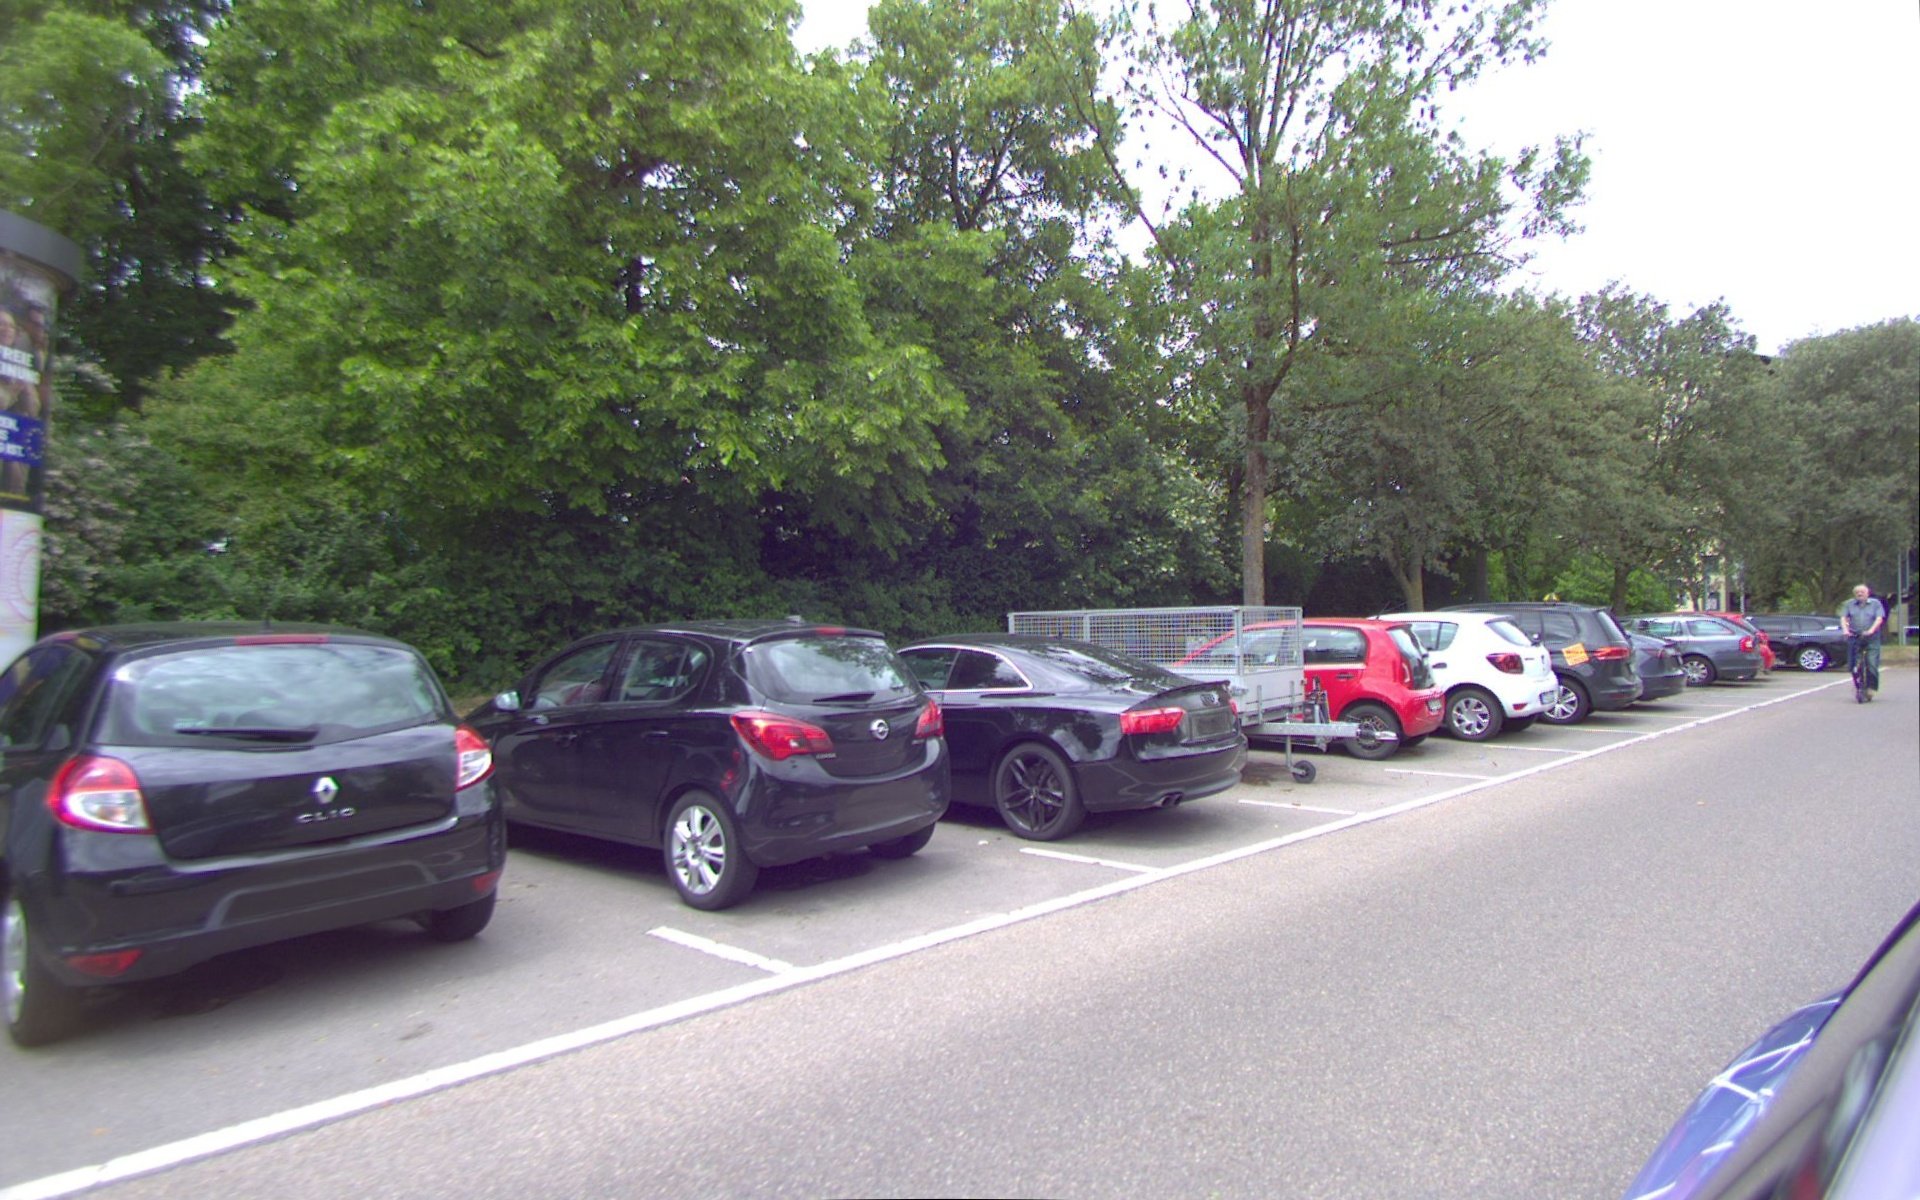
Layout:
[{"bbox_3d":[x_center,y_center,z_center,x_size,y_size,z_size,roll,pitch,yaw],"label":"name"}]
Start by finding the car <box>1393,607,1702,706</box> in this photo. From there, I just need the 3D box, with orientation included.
[{"bbox_3d":[9.530,0.863,16.595,4.152,1.425,1.674,-2,-1,39],"label":"car"}]

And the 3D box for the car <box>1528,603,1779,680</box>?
[{"bbox_3d":[14.602,0.853,21.454,4.215,1.483,1.610,-2,-2,41],"label":"car"}]

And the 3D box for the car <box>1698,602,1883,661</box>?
[{"bbox_3d":[22.657,0.852,27.715,1.549,1.495,3.719,1,-2,-42],"label":"car"}]

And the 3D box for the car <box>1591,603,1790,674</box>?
[{"bbox_3d":[16.446,0.846,22.911,3.515,1.495,1.570,-2,-2,38],"label":"car"}]

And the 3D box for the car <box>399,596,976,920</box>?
[{"bbox_3d":[-1.930,0.785,6.559,3.902,1.506,1.596,-2,-2,38],"label":"car"}]

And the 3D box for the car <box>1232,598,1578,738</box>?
[{"bbox_3d":[5.690,0.800,13.265,1.579,1.549,3.822,0,-1,-44],"label":"car"}]

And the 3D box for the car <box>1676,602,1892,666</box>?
[{"bbox_3d":[20.801,0.847,25.747,4.126,1.495,1.554,-2,-2,39],"label":"car"}]

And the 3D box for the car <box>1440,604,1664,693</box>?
[{"bbox_3d":[10.842,0.842,18.616,3.321,1.483,1.611,-2,-1,40],"label":"car"}]

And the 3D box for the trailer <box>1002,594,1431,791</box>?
[{"bbox_3d":[2.370,0.796,9.810,3.681,1.555,1.623,-2,-2,39],"label":"trailer"}]

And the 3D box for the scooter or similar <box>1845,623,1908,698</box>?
[{"bbox_3d":[14.946,0.953,16.500,0.681,1.154,1.436,-2,-2,44],"label":"scooter or similar"}]

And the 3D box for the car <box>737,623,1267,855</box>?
[{"bbox_3d":[0.151,0.891,7.938,4.028,1.344,1.538,-2,-1,39],"label":"car"}]

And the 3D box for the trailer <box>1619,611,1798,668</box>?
[{"bbox_3d":[18.222,0.938,24.701,3.397,1.283,1.593,-2,-1,41],"label":"trailer"}]

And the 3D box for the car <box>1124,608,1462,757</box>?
[{"bbox_3d":[3.793,0.865,11.771,3.416,1.464,1.538,-2,-1,38],"label":"car"}]

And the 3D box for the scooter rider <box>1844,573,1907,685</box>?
[{"bbox_3d":[14.900,0.468,16.465,0.681,1.752,1.177,-2,-2,45],"label":"scooter rider"}]

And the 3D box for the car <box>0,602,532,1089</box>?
[{"bbox_3d":[-3.814,0.793,4.942,3.833,1.474,1.611,-2,-2,40],"label":"car"}]

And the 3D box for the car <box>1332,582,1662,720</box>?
[{"bbox_3d":[7.701,0.685,14.700,3.978,1.747,1.657,-2,-1,39],"label":"car"}]
